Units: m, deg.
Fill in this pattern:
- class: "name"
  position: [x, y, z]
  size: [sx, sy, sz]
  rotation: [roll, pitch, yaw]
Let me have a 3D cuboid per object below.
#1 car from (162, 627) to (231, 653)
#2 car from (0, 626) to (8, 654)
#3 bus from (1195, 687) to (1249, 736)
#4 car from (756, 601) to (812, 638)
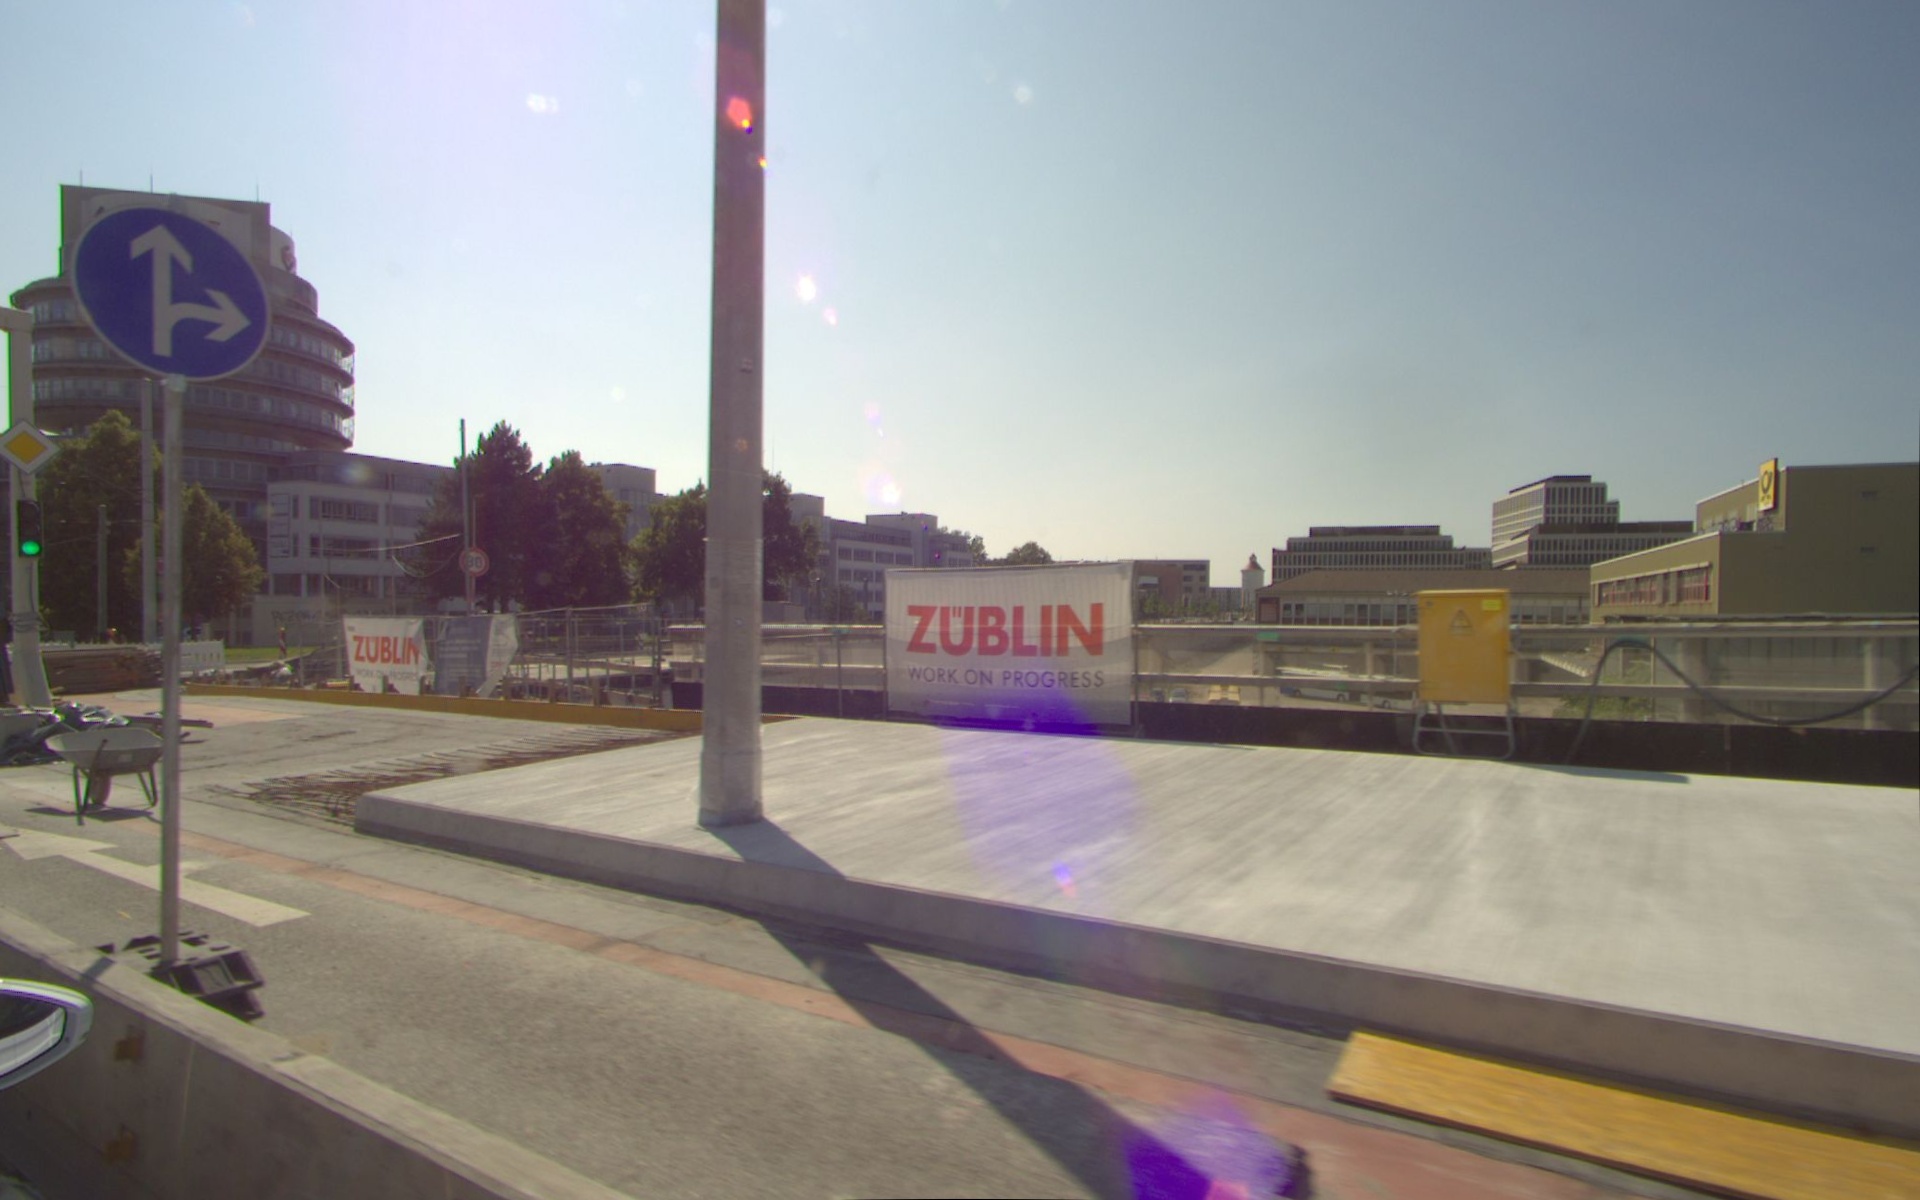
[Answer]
- class: "car"
  position: [-57.278, 3.011, 75.183]
  size: [1.656, 1.821, 3.808]
  rotation: [1, -1, 32]
- class: "car"
  position: [-63.867, 2.554, 64.187]
  size: [1.656, 1.821, 3.808]
  rotation: [1, -1, 32]
- class: "bus"
  position: [21.448, 8.959, 81.515]
  size: [3.178, 3.027, 10.997]
  rotation: [1, -1, 20]
- class: "car"
  position: [-14.441, 1.625, 82.565]
  size: [2.302, 2.924, 5.968]
  rotation: [1, -1, 13]
